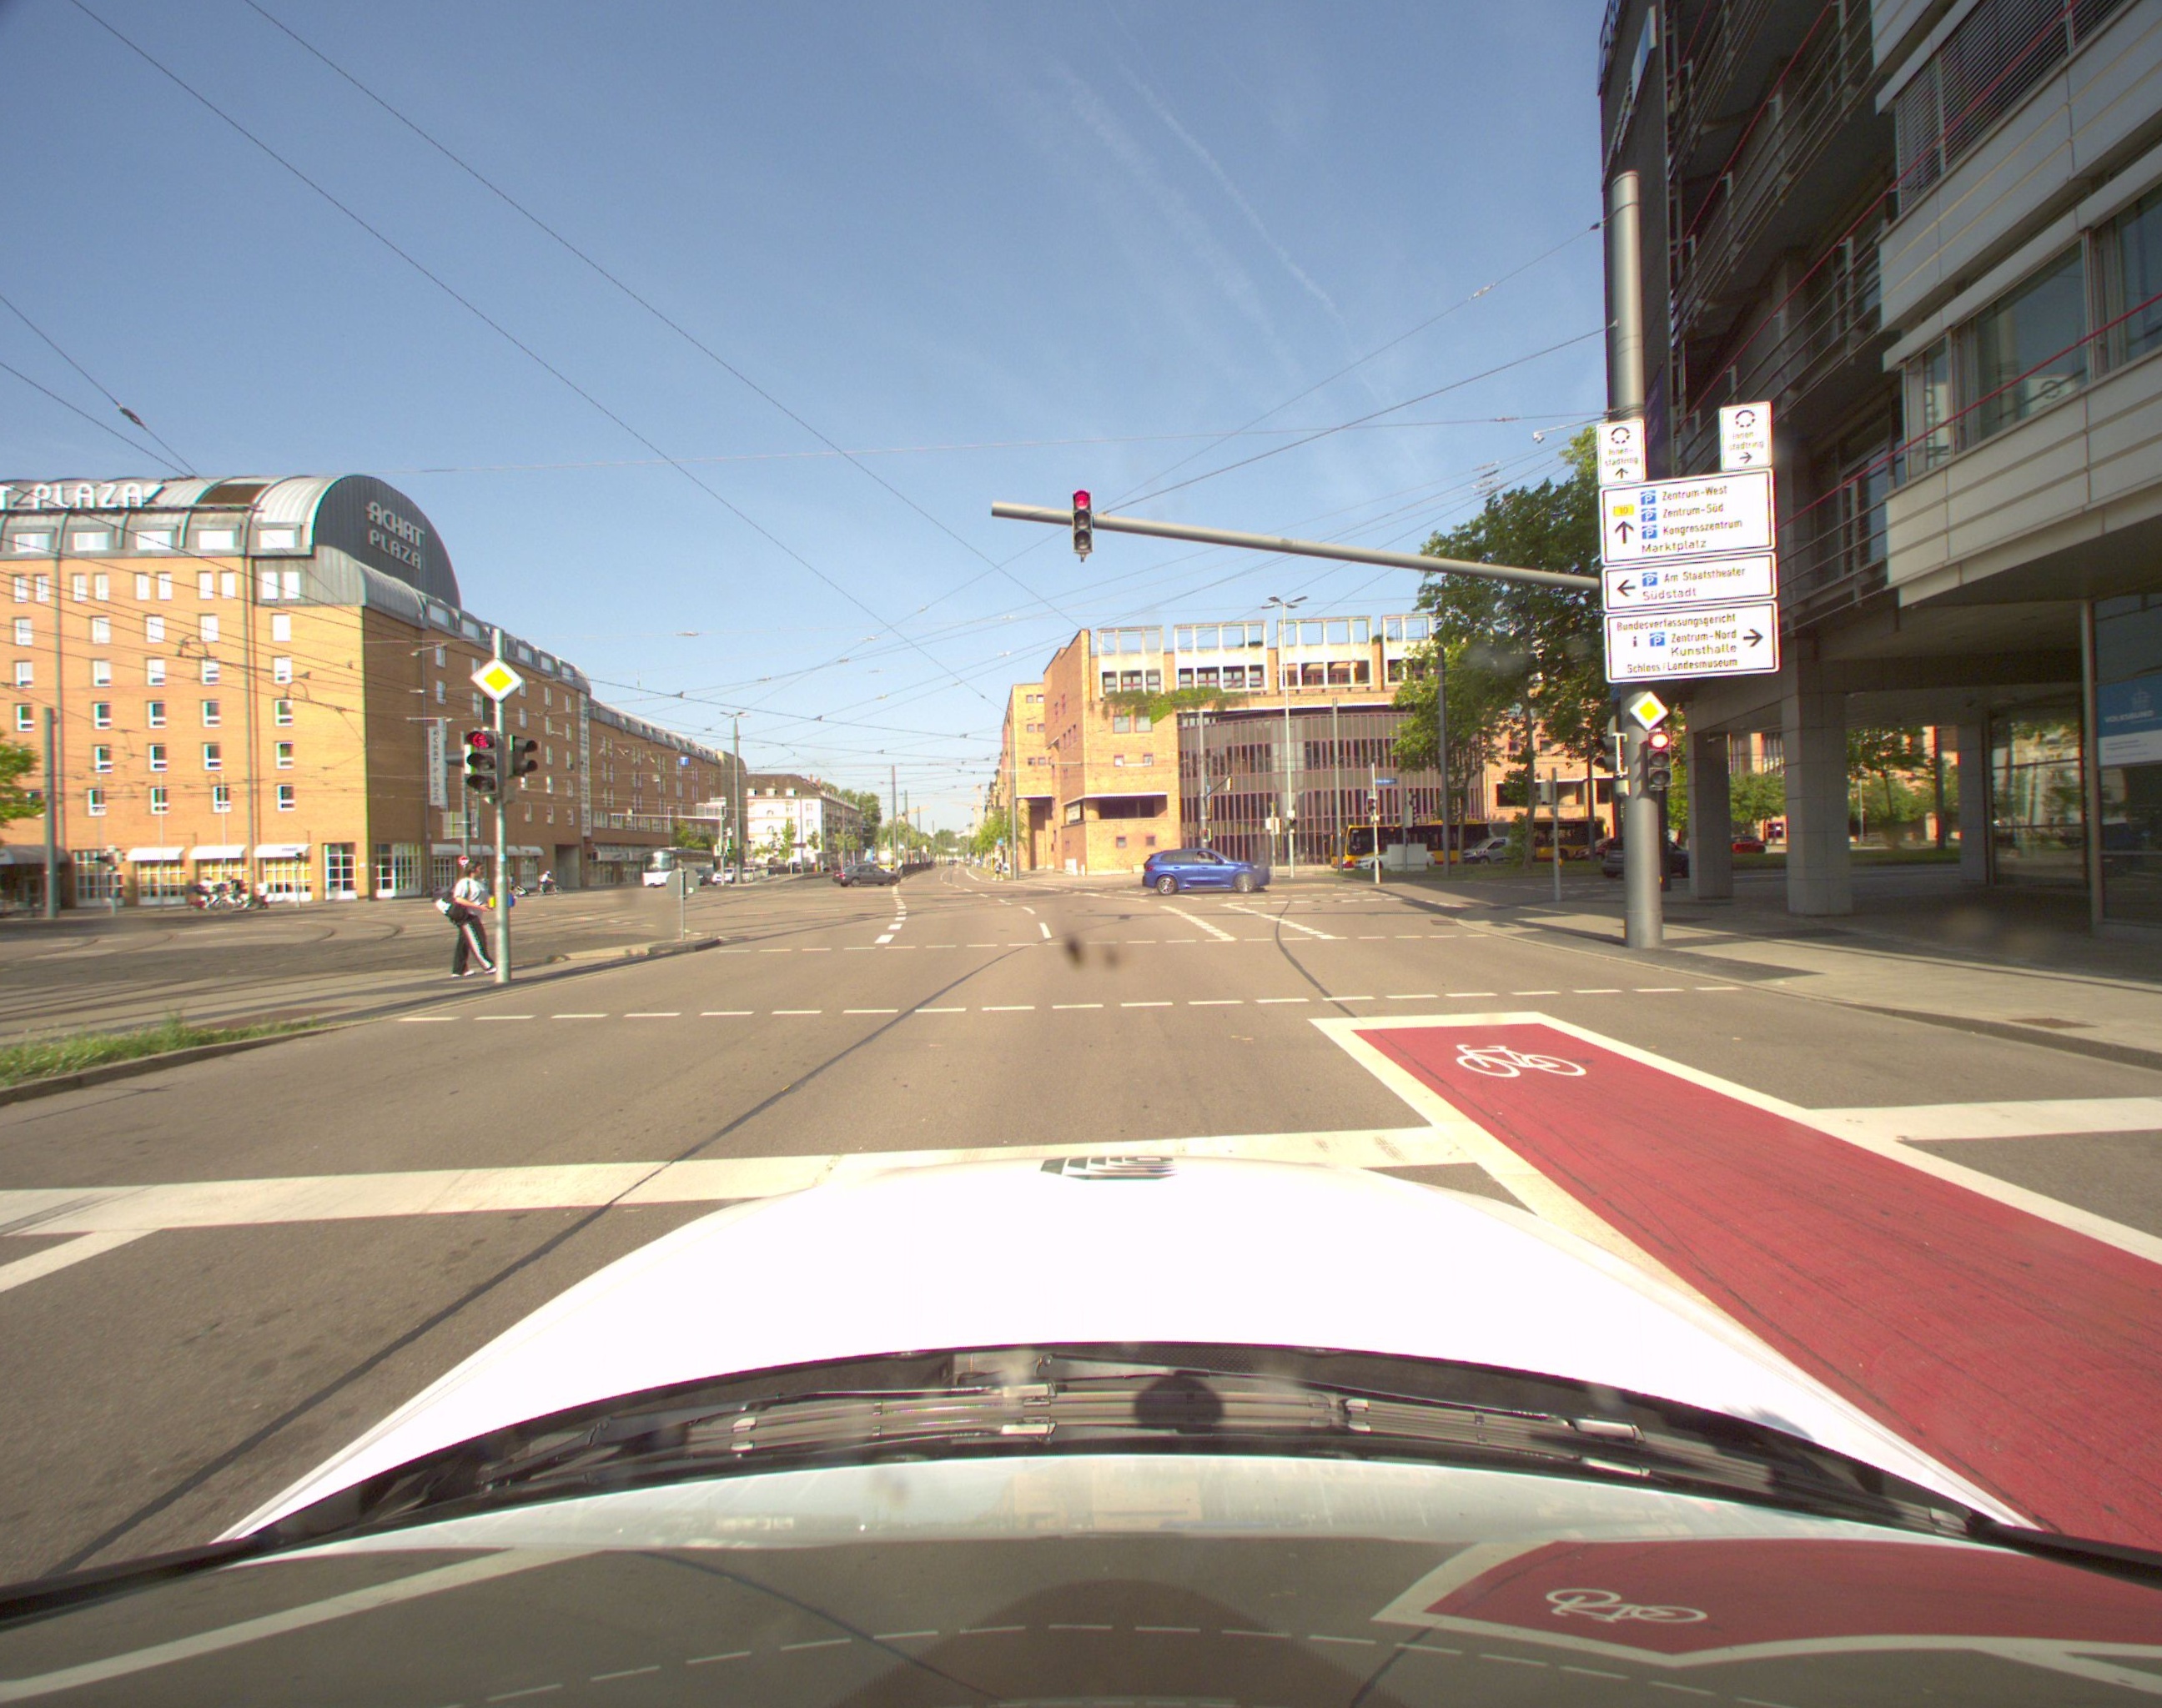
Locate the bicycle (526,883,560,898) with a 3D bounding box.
[{"bbox_3d":[-38.581,2.624,58.403,1.962,0.970,0.418,-1,-2,-13],"label":"bicycle"}]

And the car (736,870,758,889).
[{"bbox_3d":[-32.117,2.464,78.268,1.207,1.760,2.604,-2,-2,-5],"label":"car"}]

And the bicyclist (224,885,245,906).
[{"bbox_3d":[-46.165,2.259,44.413,0.520,1.129,0.610,-2,-2,1],"label":"bicyclist"}]

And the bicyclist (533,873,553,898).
[{"bbox_3d":[-38.593,2.262,58.422,0.987,1.696,0.668,-1,-2,-12],"label":"bicyclist"}]

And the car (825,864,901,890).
[{"bbox_3d":[-13.854,1.452,51.842,4.243,1.487,1.976,0,-2,-41],"label":"car"}]

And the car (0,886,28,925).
[{"bbox_3d":[-58.905,2.772,42.600,4.594,2.013,1.996,-2,0,-5],"label":"car"}]

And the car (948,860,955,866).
[{"bbox_3d":[-38.518,2.743,242.392,2.073,1.542,4.400,-1,-2,-9],"label":"car"}]

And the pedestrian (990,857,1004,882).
[{"bbox_3d":[-6.908,1.254,67.274,0.834,2.013,0.814,-2,0,17],"label":"pedestrian"}]

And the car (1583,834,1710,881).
[{"bbox_3d":[20.307,0.097,29.300,3.590,1.492,1.698,-2,3,-9],"label":"car"}]

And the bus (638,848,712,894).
[{"bbox_3d":[-38.316,1.666,77.370,2.746,3.921,12.176,-1,-2,-9],"label":"bus"}]

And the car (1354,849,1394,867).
[{"bbox_3d":[17.029,0.227,47.402,1.944,0.958,1.094,-2,0,1],"label":"car"}]

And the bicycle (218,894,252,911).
[{"bbox_3d":[-46.154,2.638,44.445,0.345,0.872,1.398,-2,-2,2],"label":"bicycle"}]

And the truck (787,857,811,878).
[{"bbox_3d":[-35.897,1.740,103.855,1.993,2.599,4.725,-1,-2,-9],"label":"truck"}]

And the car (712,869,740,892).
[{"bbox_3d":[-31.344,2.347,71.981,1.600,2.014,2.722,-1,-2,-8],"label":"car"}]

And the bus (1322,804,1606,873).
[{"bbox_3d":[24.482,-0.978,52.201,17.592,3.811,2.858,-2,-2,-7],"label":"bus"}]

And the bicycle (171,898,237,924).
[{"bbox_3d":[-44.665,2.887,41.518,0.544,1.206,2.296,-2,-2,15],"label":"bicycle"}]

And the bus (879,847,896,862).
[{"bbox_3d":[-26.819,0.134,113.046,1.994,2.013,3.986,-1,0,-10],"label":"bus"}]

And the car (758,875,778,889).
[{"bbox_3d":[-33.293,2.996,86.658,1.390,1.481,2.734,-1,-2,-9],"label":"car"}]

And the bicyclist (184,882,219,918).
[{"bbox_3d":[-44.713,2.337,41.405,0.659,1.747,0.971,-2,-2,15],"label":"bicyclist"}]

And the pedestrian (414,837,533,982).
[{"bbox_3d":[-8.902,0.789,11.972,1.154,2.014,0.774,-1,-2,-7],"label":"pedestrian"}]

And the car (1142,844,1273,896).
[{"bbox_3d":[4.434,0.573,28.732,4.375,1.636,1.996,-2,-2,7],"label":"car"}]

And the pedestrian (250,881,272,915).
[{"bbox_3d":[-48.168,2.583,47.854,0.753,1.953,0.874,-1,0,-35],"label":"pedestrian"}]
